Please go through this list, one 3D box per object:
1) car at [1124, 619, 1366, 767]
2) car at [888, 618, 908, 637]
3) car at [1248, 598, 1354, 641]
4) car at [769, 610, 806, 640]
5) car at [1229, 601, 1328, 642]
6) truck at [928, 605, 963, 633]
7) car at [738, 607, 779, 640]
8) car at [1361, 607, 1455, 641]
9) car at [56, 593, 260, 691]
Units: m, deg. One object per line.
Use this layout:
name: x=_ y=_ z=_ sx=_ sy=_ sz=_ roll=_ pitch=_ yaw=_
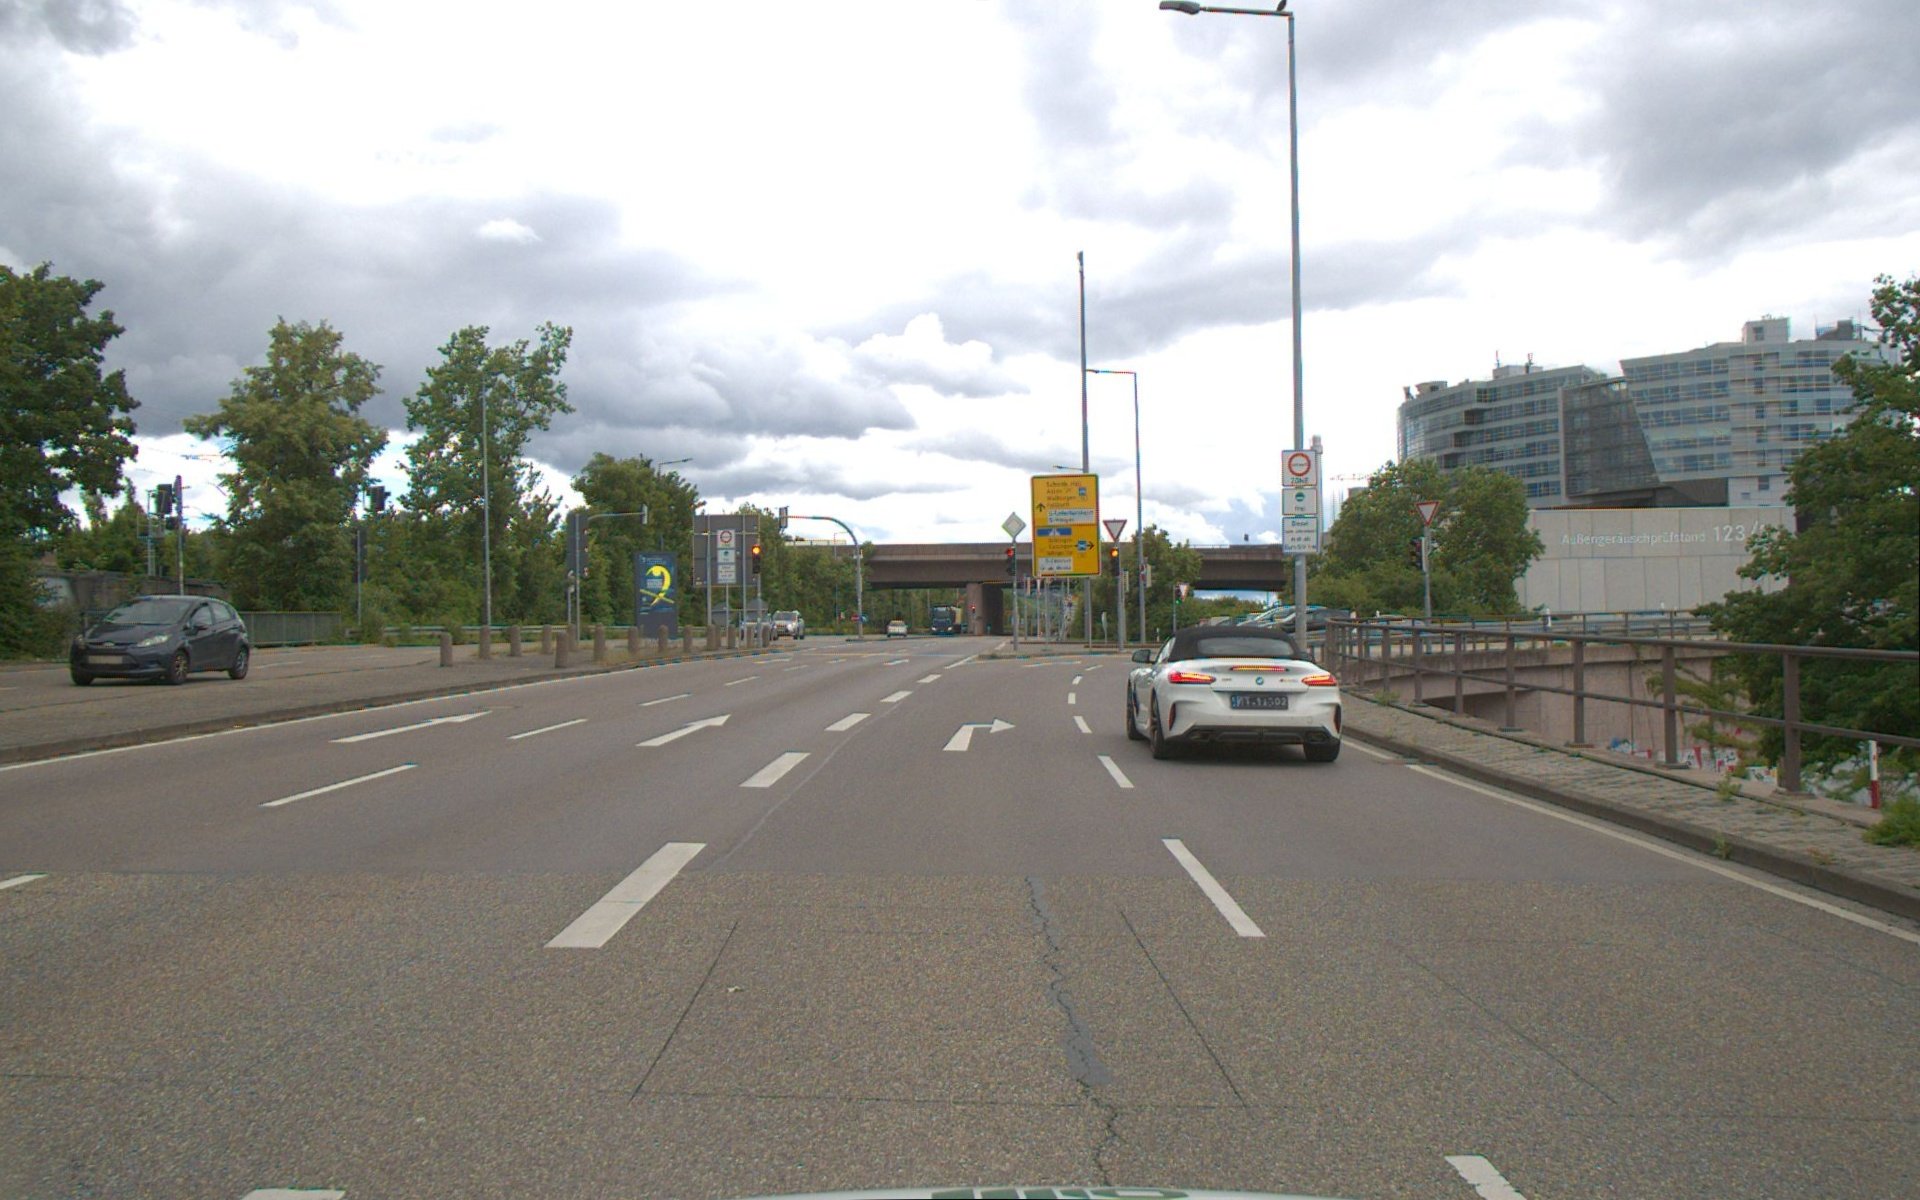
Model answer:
car: x=2.855 y=0.893 z=17.388 sx=1.837 sy=1.332 sz=3.872 roll=0 pitch=0 yaw=-1
car: x=-5.628 y=2.483 z=150.272 sx=1.705 sy=1.564 sz=3.671 roll=0 pitch=0 yaw=0
car: x=15.058 y=0.884 z=73.226 sx=4.280 sy=1.789 sz=2.000 roll=-1 pitch=-2 yaw=3
car: x=-9.982 y=1.434 z=96.008 sx=1.735 sy=1.661 sz=3.824 roll=1 pitch=0 yaw=-1
car: x=14.784 y=1.030 z=76.983 sx=4.280 sy=1.789 sz=2.000 roll=-1 pitch=-2 yaw=3
truck: x=-1.697 y=2.369 z=203.366 sx=2.861 sy=3.201 sz=10.118 roll=1 pitch=-1 yaw=7
car: x=-10.674 y=1.219 z=87.794 sx=1.735 sy=1.674 sz=3.824 roll=1 pitch=0 yaw=-1
car: x=22.858 y=1.245 z=84.426 sx=4.280 sy=1.598 sz=2.000 roll=-1 pitch=-2 yaw=3
car: x=-13.430 y=0.668 z=27.920 sx=1.724 sy=1.510 sz=3.484 roll=2 pitch=0 yaw=0
